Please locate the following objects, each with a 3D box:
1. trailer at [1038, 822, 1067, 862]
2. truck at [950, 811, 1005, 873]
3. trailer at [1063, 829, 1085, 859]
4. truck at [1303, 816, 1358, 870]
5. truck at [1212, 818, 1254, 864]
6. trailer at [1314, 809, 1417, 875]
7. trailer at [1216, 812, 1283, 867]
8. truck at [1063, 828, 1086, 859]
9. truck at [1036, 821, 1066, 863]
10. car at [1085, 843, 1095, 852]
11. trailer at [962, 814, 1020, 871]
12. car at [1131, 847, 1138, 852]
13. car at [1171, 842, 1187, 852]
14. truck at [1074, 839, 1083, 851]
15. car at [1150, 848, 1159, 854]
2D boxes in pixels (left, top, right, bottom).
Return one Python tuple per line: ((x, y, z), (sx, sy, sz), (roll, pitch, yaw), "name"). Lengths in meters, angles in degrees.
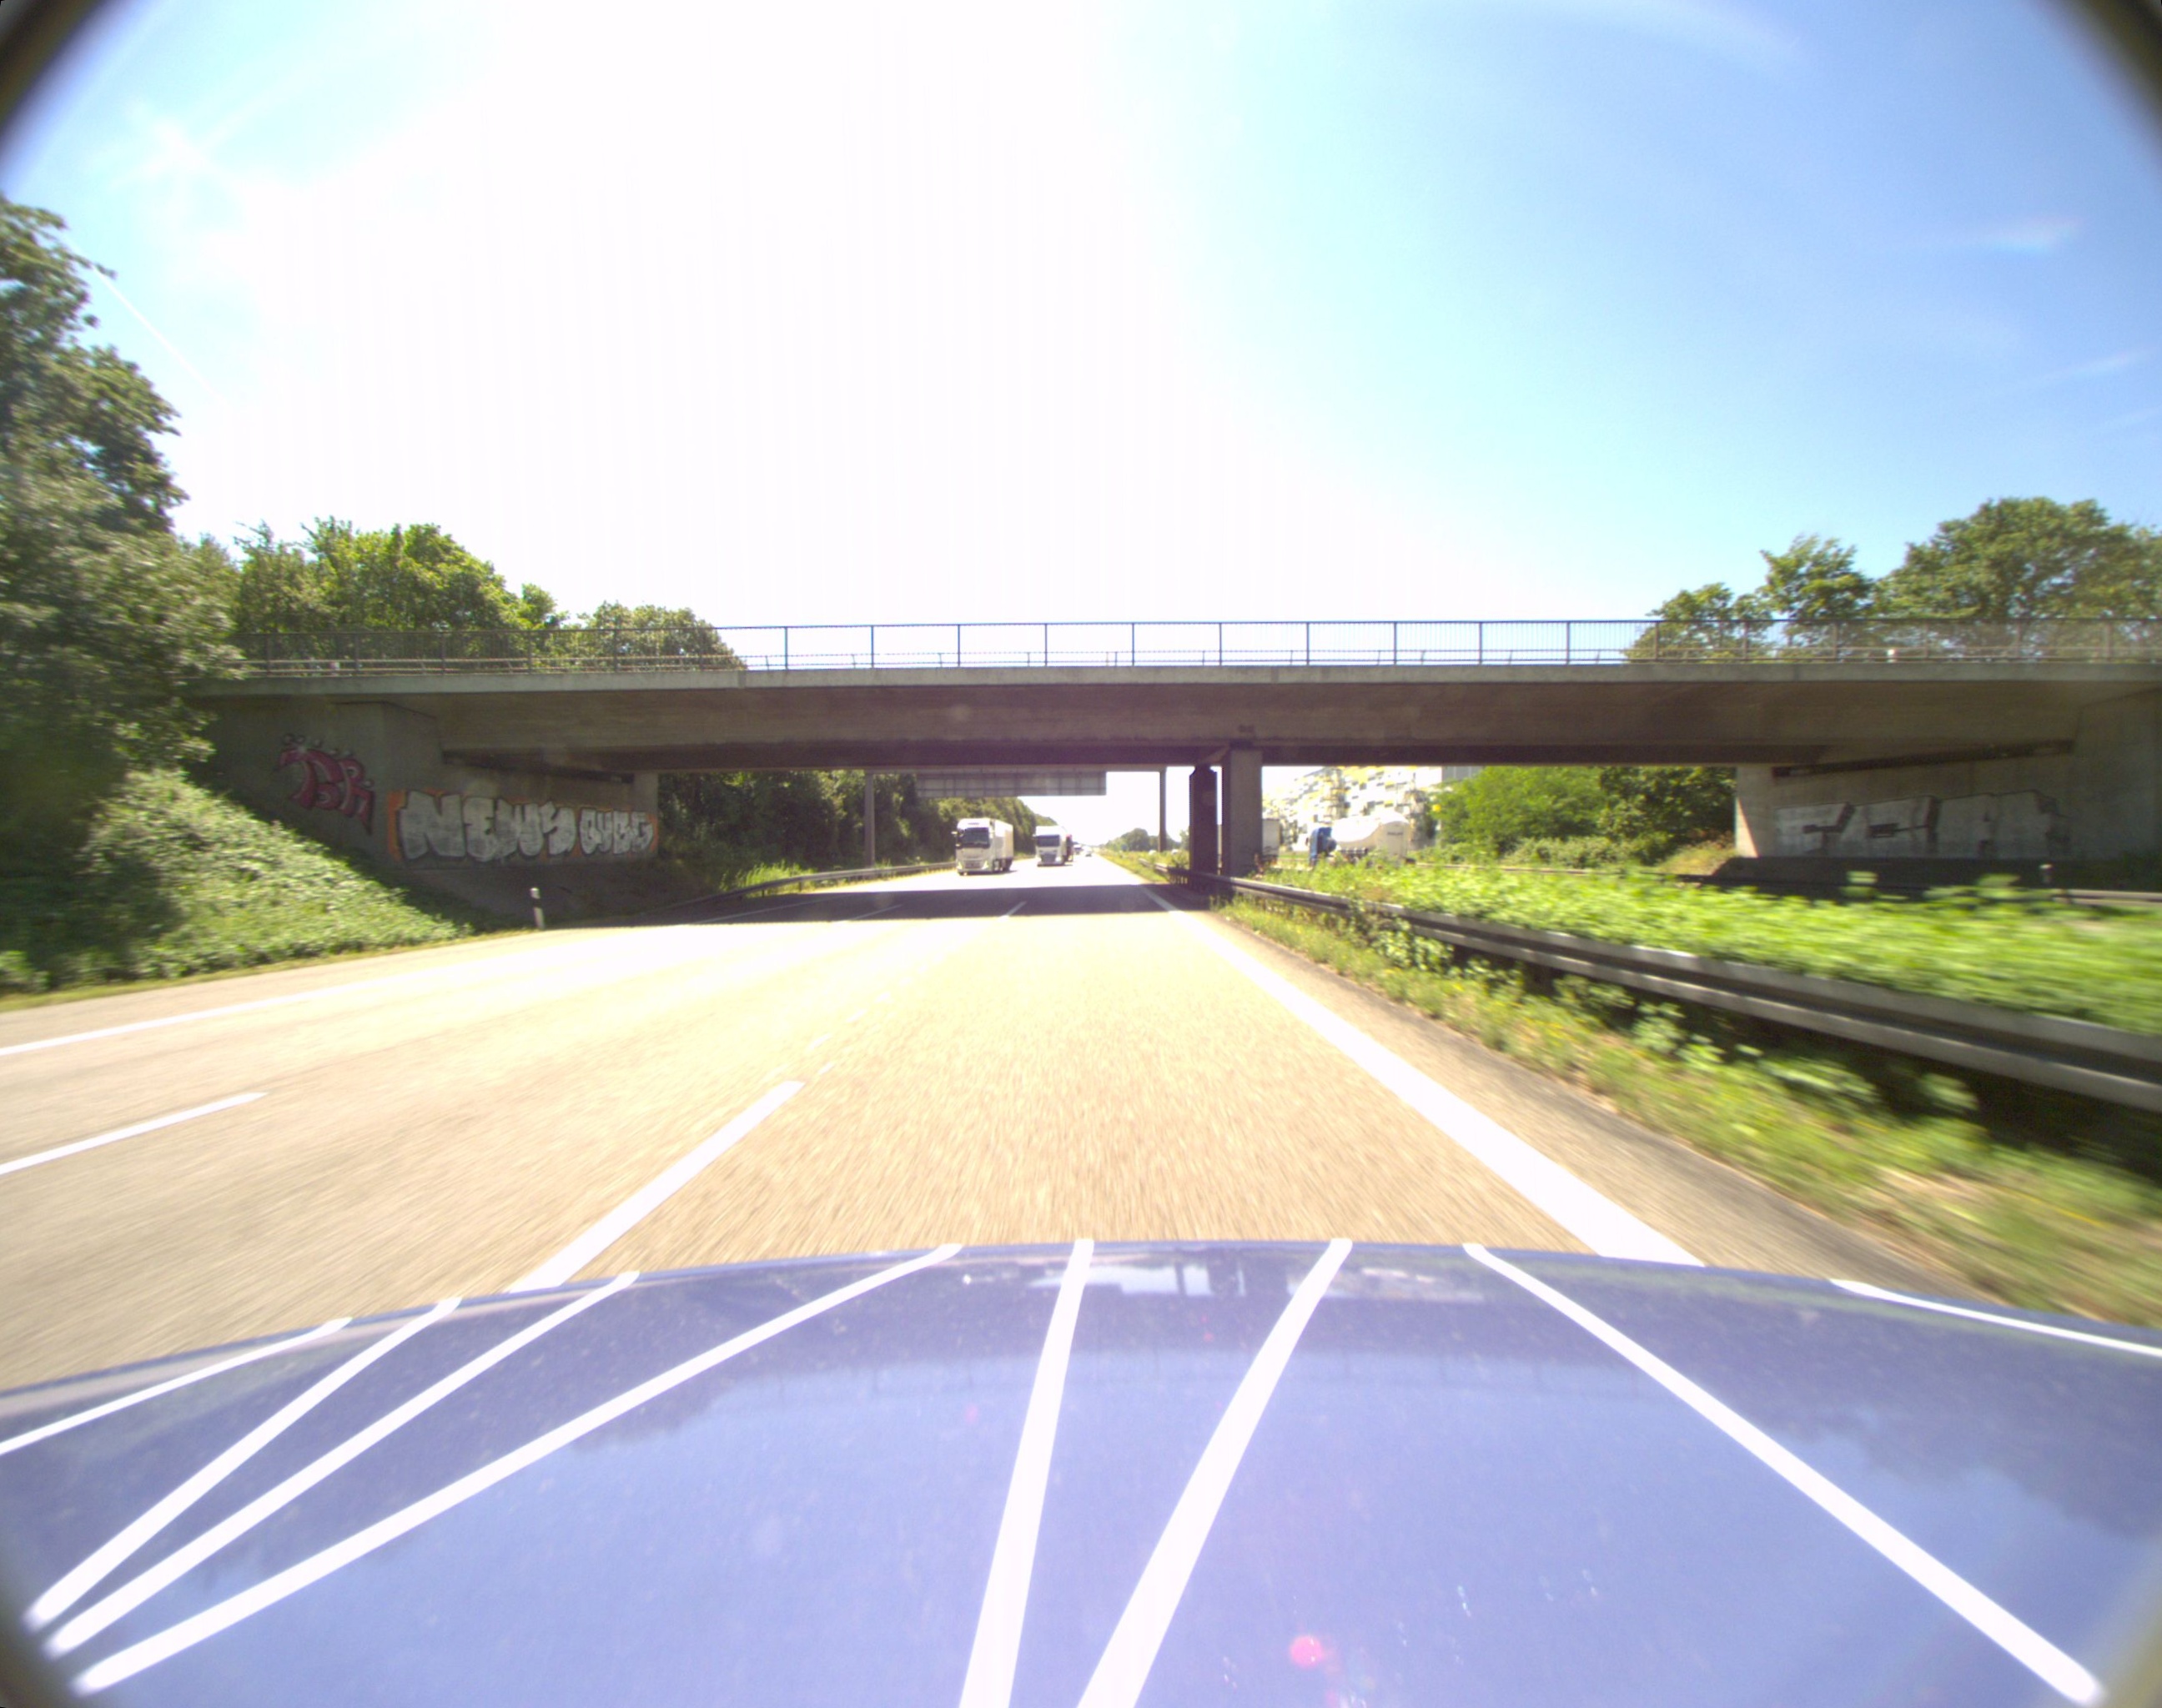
((-3.034, -1.301, 84.926), (2.684, 4.046, 13.833), (-2, 0, 0), "trailer")
((-7.380, -0.842, 55.039), (3.055, 4.191, 6.048), (-2, 1, 0), "truck")
((-1.066, -1.438, 110.377), (2.885, 4.046, 13.832), (-2, 0, -1), "trailer")
((18.378, -0.803, 56.348), (2.365, 3.753, 5.251), (1, 1, 1), "truck")
((14.390, -1.224, 72.426), (2.835, 4.187, 5.888), (1, 1, 1), "truck")
((18.277, -0.756, 49.892), (2.364, 3.772, 12.073), (1, 0, 1), "trailer")
((14.285, -1.172, 65.611), (2.836, 4.200, 13.834), (1, 0, 1), "trailer")
((-0.928, -1.407, 102.791), (2.870, 4.046, 5.770), (-2, 1, -1), "truck")
((-3.020, -1.221, 78.050), (2.684, 4.046, 6.048), (-2, 1, 0), "truck")
((1.909, -1.419, 168.341), (2.073, 1.959, 5.109), (0, 0, -1), "car")
((-7.354, -0.915, 64.216), (3.047, 4.200, 13.834), (-2, 0, 0), "trailer")
((17.428, -1.533, 246.274), (1.904, 1.523, 5.031), (2, 1, 0), "car")
((14.756, -1.053, 114.623), (1.904, 1.544, 4.240), (0, 1, -1), "car")
((-0.942, -3.140, 261.894), (2.999, 4.046, 5.770), (-2, 1, 0), "truck")
((19.571, -0.887, 203.667), (1.904, 1.584, 4.742), (0, 1, 0), "car")
